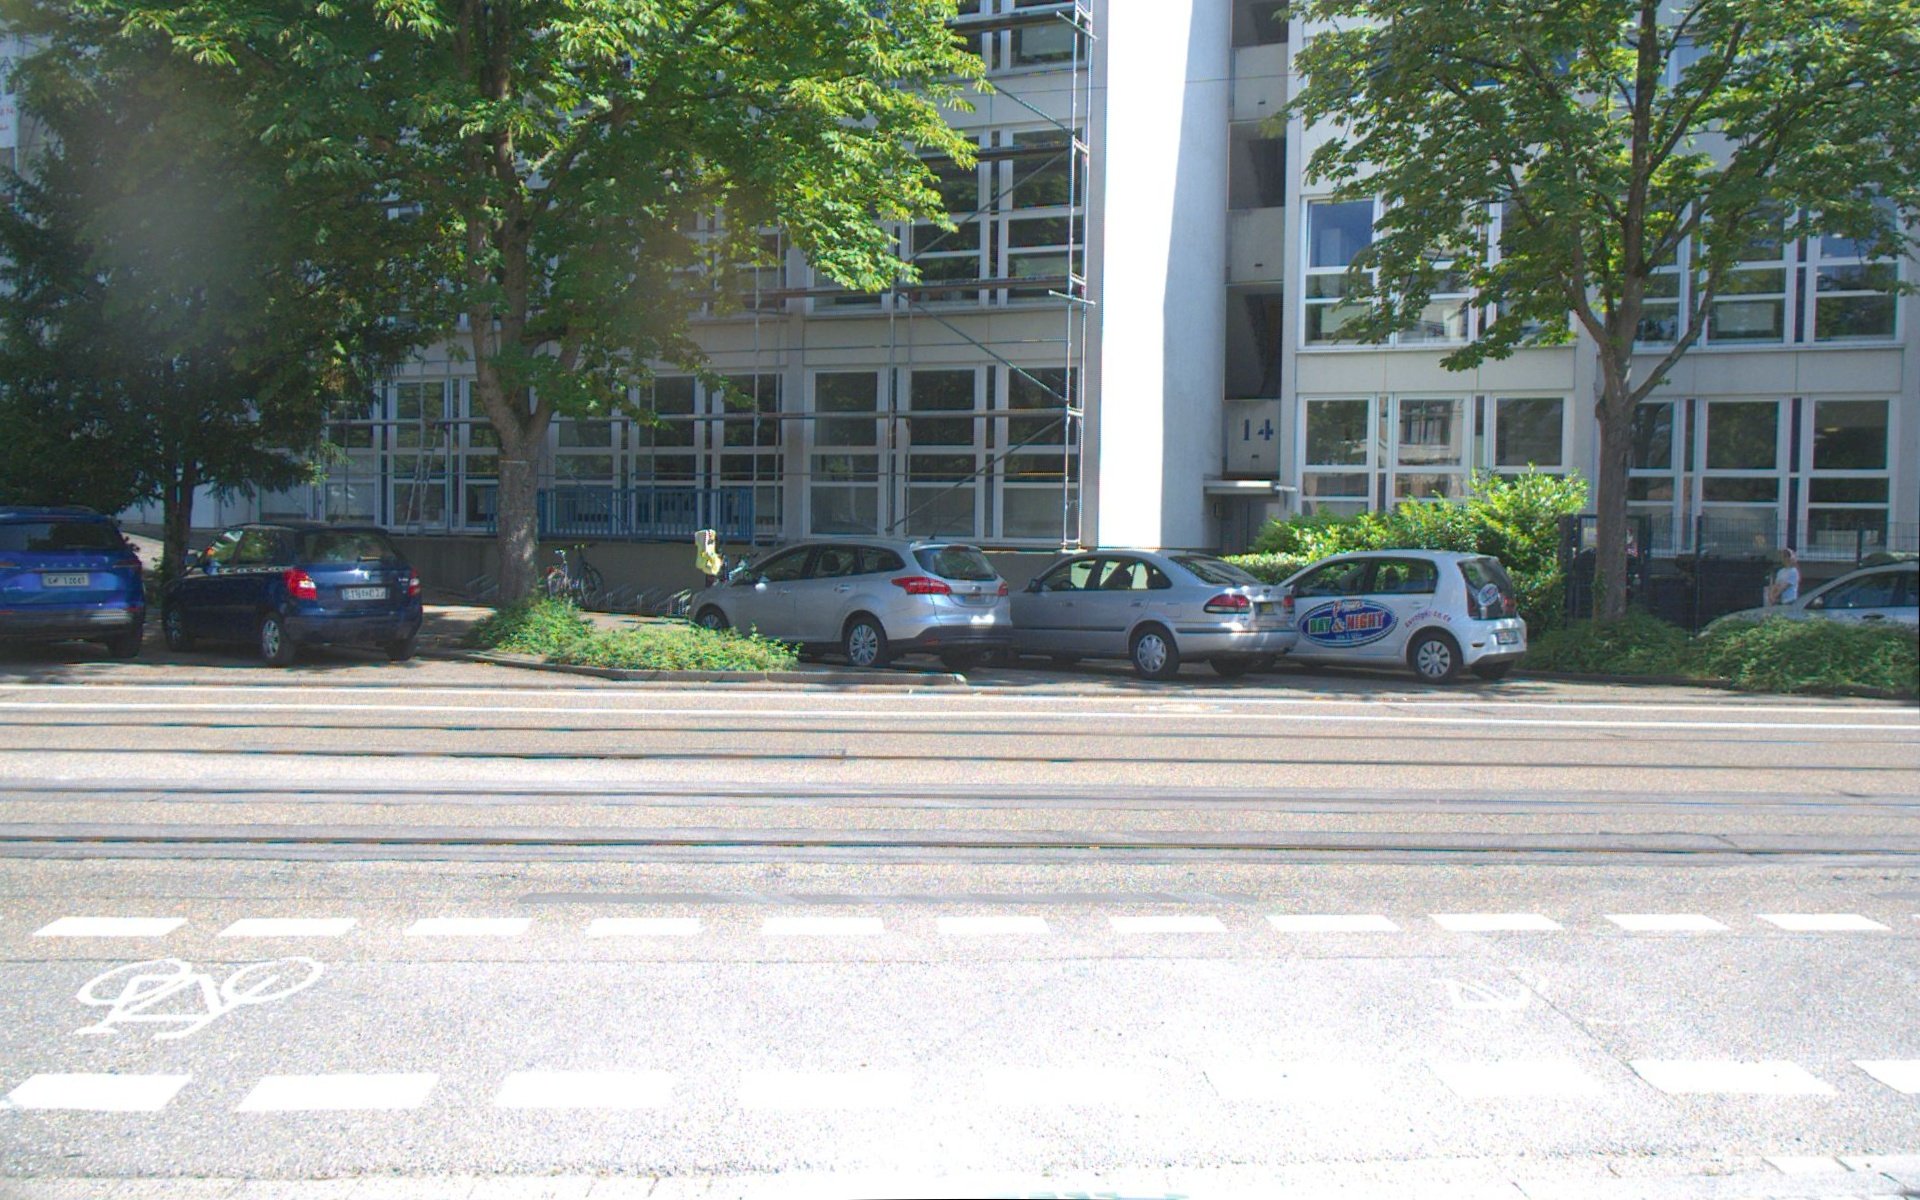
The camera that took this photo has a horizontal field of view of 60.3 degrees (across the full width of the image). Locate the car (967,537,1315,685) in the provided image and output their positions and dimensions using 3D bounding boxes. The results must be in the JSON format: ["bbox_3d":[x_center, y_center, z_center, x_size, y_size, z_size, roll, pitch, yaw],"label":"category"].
[{"bbox_3d":[2.027,0.052,19.322,3.878,1.511,1.602,3,3,44],"label":"car"}]

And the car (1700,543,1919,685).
[{"bbox_3d":[11.459,0.162,20.060,4.262,1.632,1.551,2,2,39],"label":"car"}]

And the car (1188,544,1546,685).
[{"bbox_3d":[4.775,0.107,19.724,3.876,1.512,1.603,1,2,43],"label":"car"}]

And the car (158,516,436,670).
[{"bbox_3d":[-7.493,-0.144,18.587,3.396,1.557,1.567,3,3,42],"label":"car"}]

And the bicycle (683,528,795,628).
[{"bbox_3d":[-3.433,-0.361,25.831,0.648,1.478,2.088,2,2,27],"label":"bicycle"}]

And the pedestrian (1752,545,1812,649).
[{"bbox_3d":[11.888,-0.052,23.921,0.608,1.486,0.424,1,2,-6],"label":"pedestrian"}]

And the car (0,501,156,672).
[{"bbox_3d":[-10.521,-0.241,18.365,1.767,1.650,3.883,-2,5,-44],"label":"car"}]

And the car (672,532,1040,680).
[{"bbox_3d":[-1.307,-0.009,19.410,4.356,1.511,1.774,3,3,42],"label":"car"}]

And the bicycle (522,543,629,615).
[{"bbox_3d":[-6.153,-0.361,26.588,0.725,1.104,2.205,1,2,15],"label":"bicycle"}]
